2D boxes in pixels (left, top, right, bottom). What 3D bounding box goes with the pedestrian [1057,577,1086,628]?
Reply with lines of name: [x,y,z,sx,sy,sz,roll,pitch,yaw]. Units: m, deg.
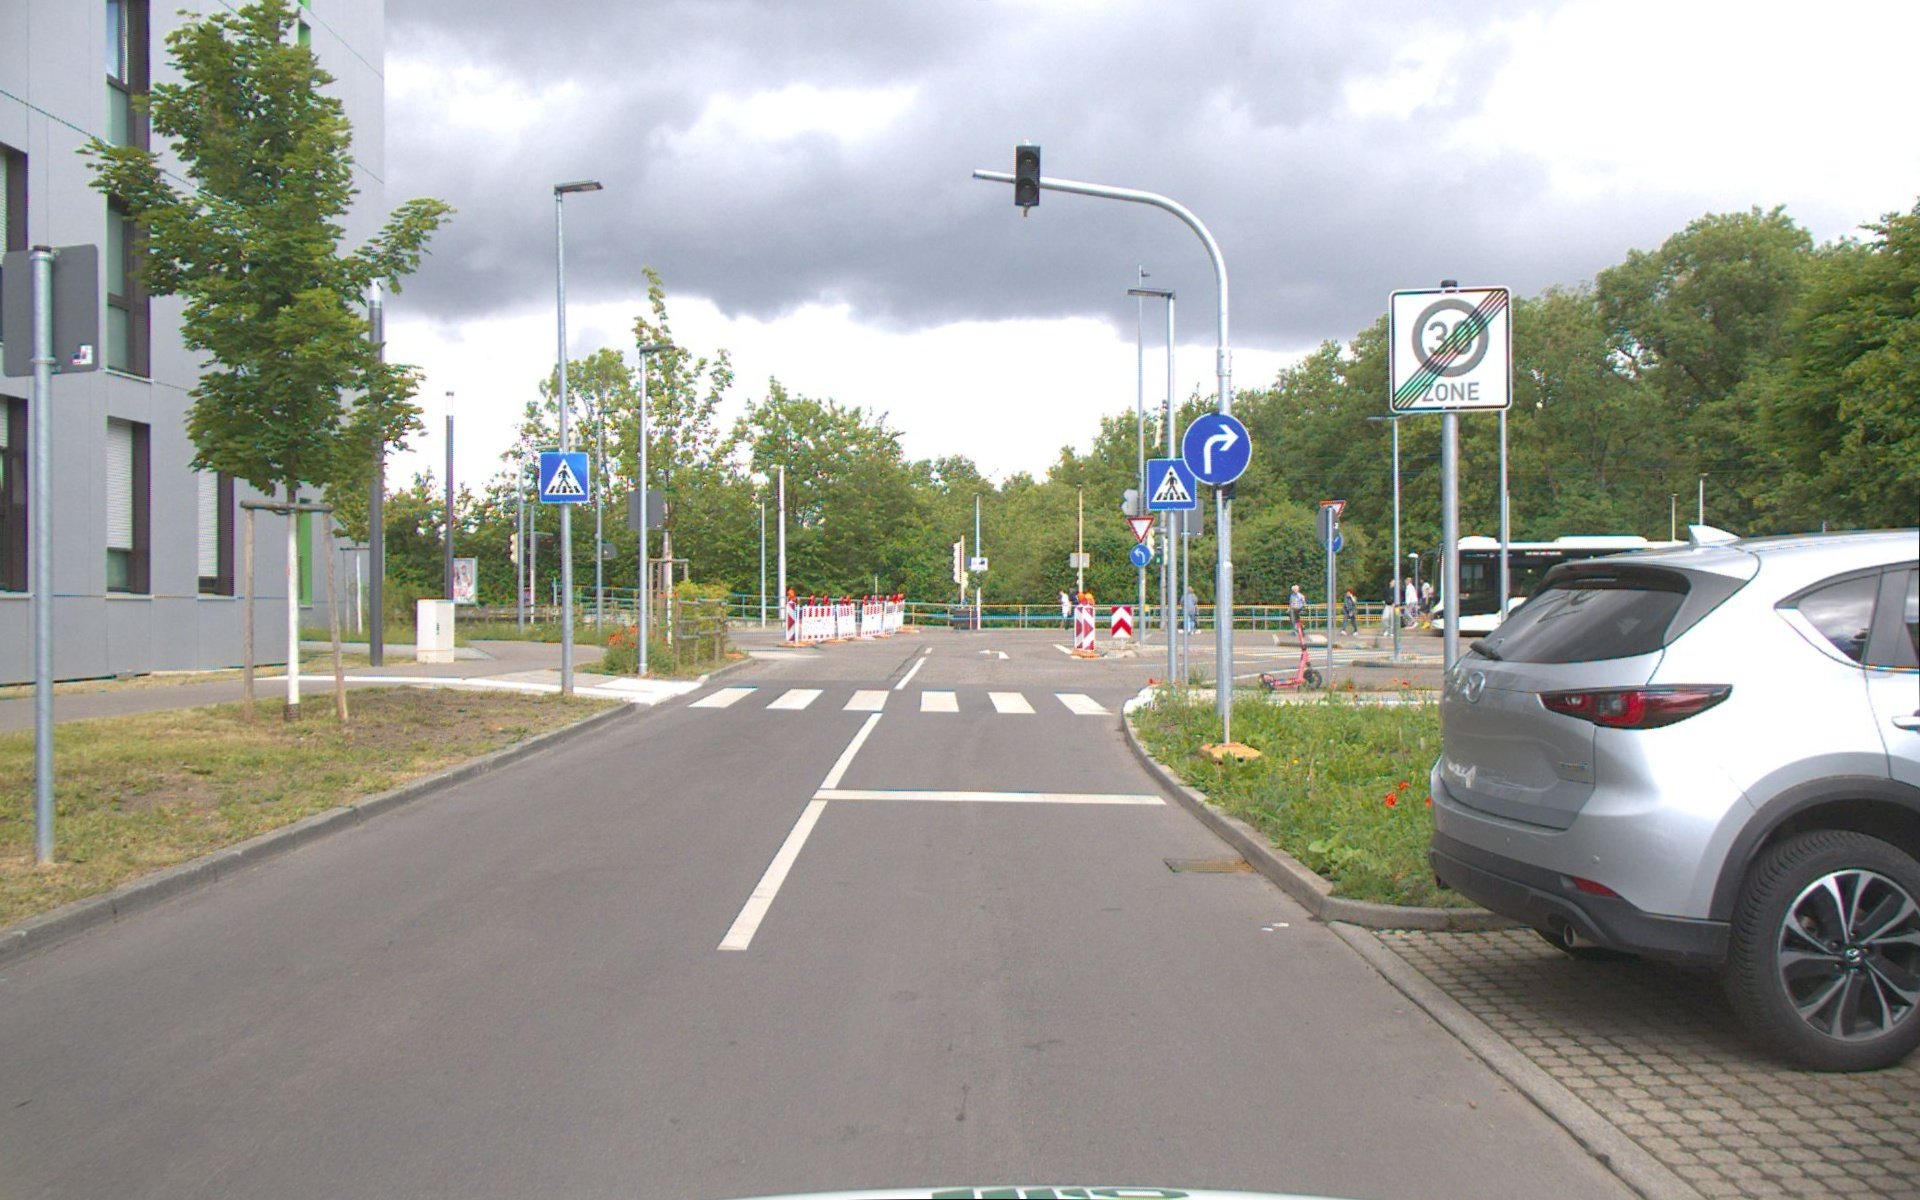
pedestrian: [3.921,0.093,58.253,0.934,1.778,0.723,0,0,11]

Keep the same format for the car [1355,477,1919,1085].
car: [4.057,0.460,6.192,4.558,1.782,2.068,-2,0,-5]

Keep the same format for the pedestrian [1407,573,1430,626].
pedestrian: [15.391,-0.026,55.518,0.705,1.778,0.958,0,0,17]

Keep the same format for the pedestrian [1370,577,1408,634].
pedestrian: [13.759,0.169,53.050,0.936,1.777,1.060,0,0,30]

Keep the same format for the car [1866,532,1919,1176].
car: [4.465,0.609,3.567,4.072,1.614,1.795,-1,0,-3]

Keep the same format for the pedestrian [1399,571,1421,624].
pedestrian: [15.455,-0.092,56.792,0.705,1.778,0.958,0,0,17]

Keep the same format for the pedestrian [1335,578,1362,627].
pedestrian: [12.713,0.074,54.170,0.677,1.594,0.731,0,0,30]

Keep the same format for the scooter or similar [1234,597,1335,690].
scooter or similar: [4.807,0.625,24.453,1.507,1.336,0.566,0,0,-33]

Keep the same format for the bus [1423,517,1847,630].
bus: [20.705,-0.762,51.541,11.899,3.259,2.677,-1,0,12]

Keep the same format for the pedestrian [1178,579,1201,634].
pedestrian: [7.625,0.211,54.904,0.705,1.778,0.958,0,0,11]

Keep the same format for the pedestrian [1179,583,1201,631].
pedestrian: [8.046,0.236,57.884,0.705,1.649,0.806,0,0,11]

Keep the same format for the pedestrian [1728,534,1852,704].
pedestrian: [9.362,0.210,18.666,0.969,1.854,0.850,0,0,-26]
